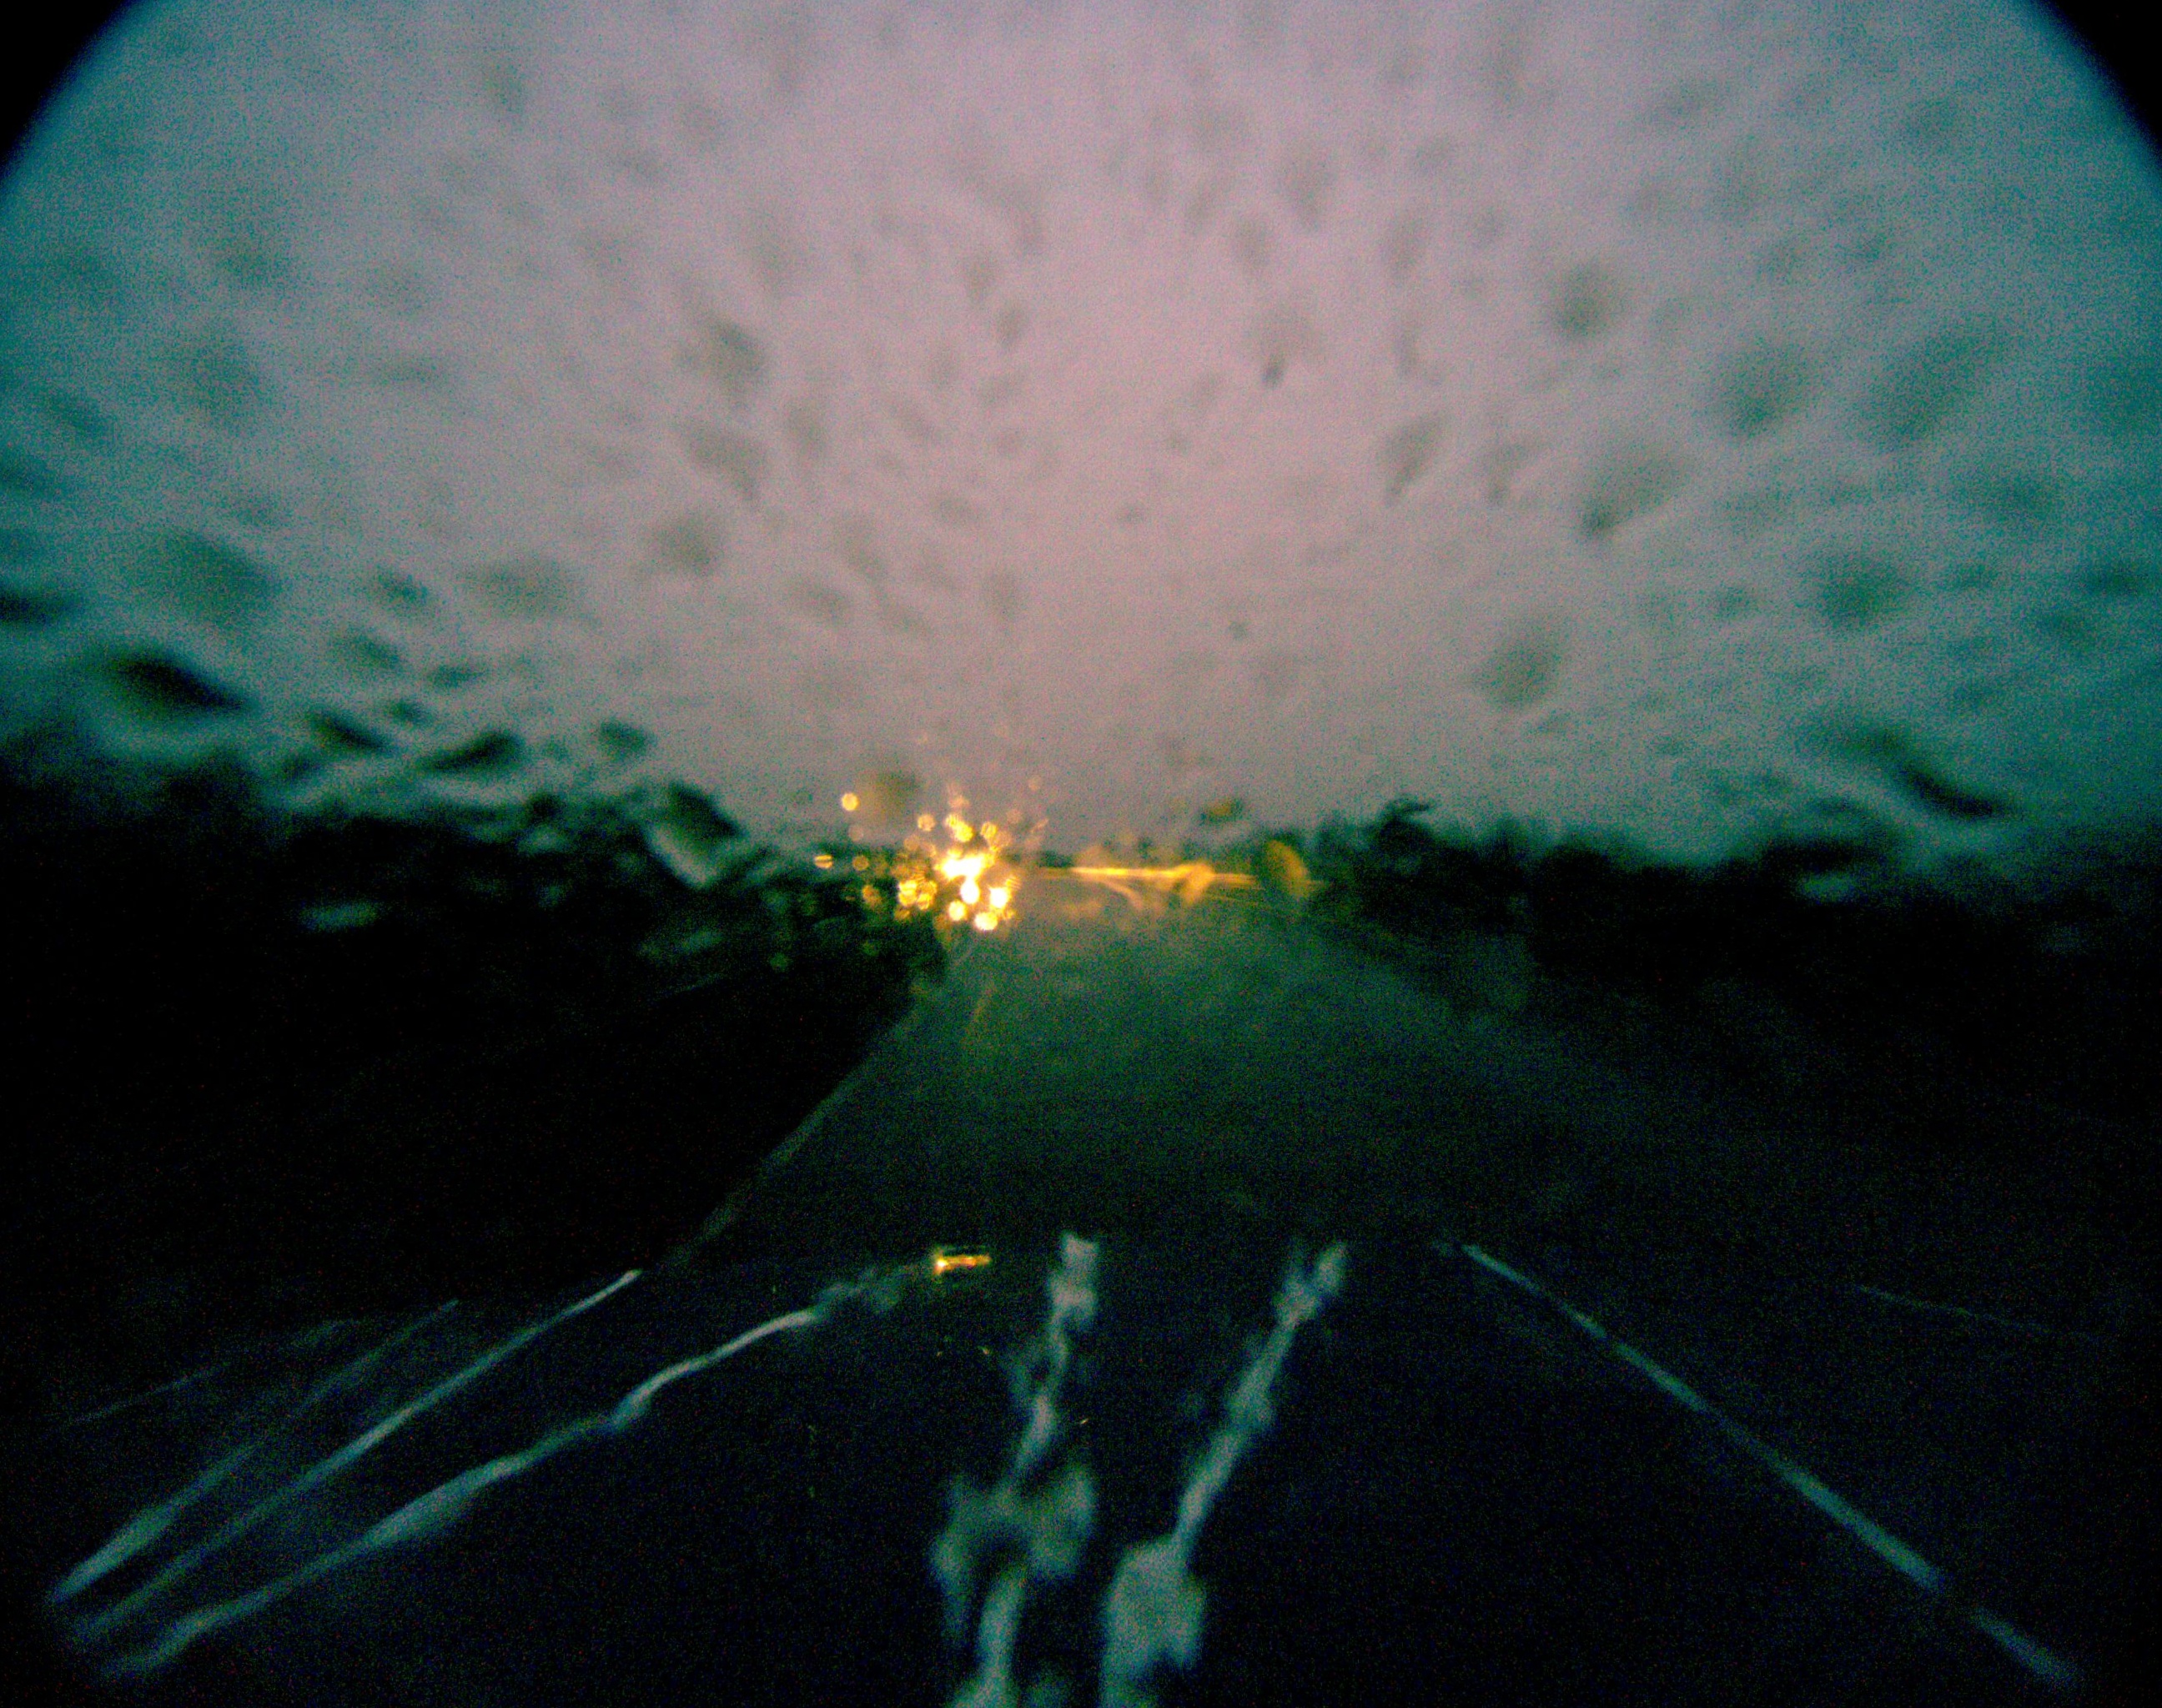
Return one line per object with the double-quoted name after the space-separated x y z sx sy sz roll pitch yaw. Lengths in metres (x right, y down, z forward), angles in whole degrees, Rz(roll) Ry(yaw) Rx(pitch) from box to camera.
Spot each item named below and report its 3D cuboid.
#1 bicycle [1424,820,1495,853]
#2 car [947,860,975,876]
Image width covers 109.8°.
24.860 -1.126 50.050 2.001 2.002 3.995 -2 1 -15 "bicycle"
-12.010 1.391 75.694 2.105 1.566 4.793 1 -1 -16 "car"
